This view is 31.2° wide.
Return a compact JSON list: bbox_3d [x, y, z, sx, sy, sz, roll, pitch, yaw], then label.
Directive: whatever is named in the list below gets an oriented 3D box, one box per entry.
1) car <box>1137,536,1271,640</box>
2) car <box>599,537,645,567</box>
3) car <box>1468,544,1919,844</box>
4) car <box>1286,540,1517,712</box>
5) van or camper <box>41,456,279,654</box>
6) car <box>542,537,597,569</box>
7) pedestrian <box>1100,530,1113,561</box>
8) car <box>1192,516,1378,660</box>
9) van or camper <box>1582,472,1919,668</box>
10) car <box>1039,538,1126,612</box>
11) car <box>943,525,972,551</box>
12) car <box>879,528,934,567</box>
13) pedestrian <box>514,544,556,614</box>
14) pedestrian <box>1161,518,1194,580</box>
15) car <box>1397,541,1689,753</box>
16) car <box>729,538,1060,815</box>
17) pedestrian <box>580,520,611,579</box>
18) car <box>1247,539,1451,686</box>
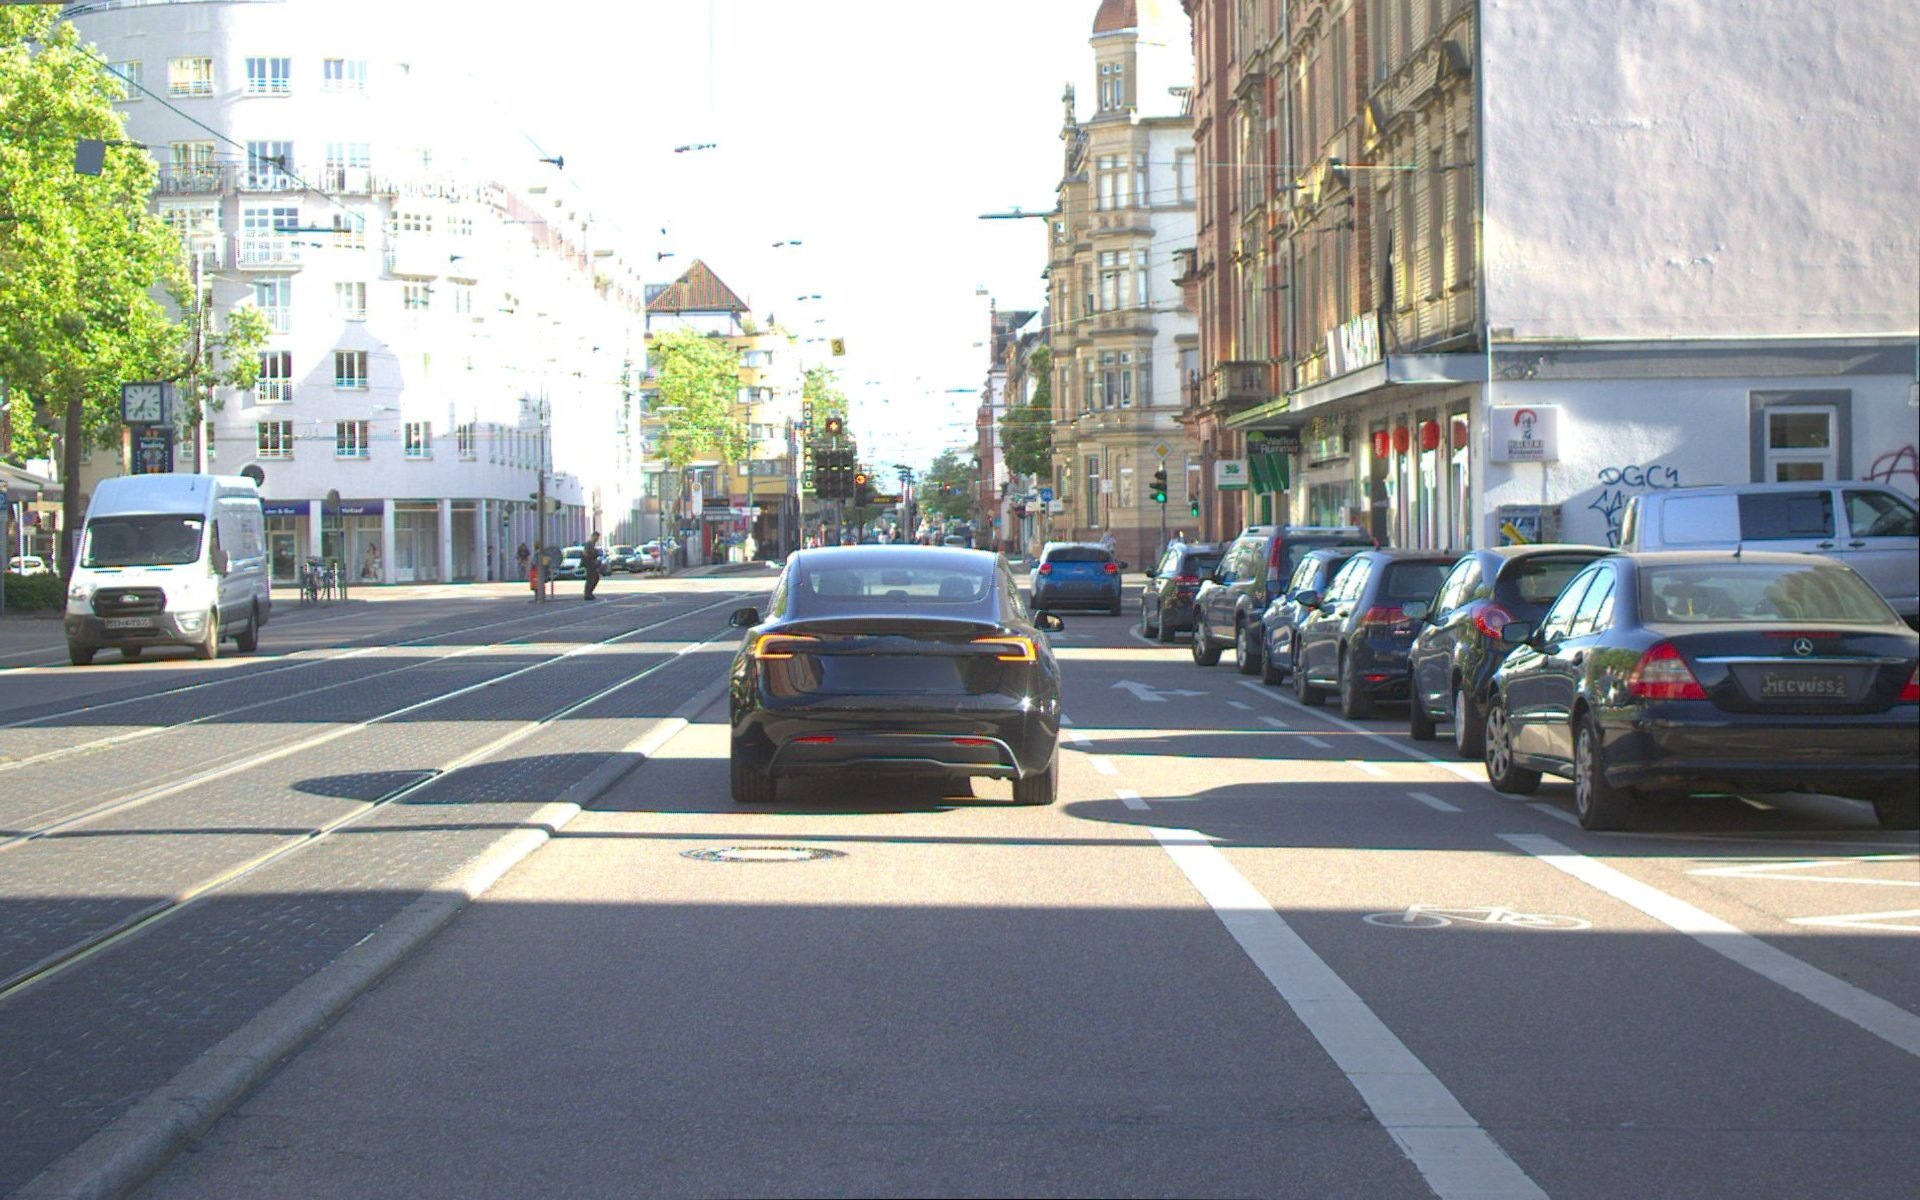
[{"bbox_3d":[3.625,-0.208,51.554,1.715,1.467,3.720,-1,1,0],"label":"car"},{"bbox_3d":[-17.323,-2.481,176.496,1.993,1.490,4.000,-1,1,-1],"label":"car"},{"bbox_3d":[4.039,0.424,18.964,1.710,1.452,4.551,0,1,-1],"label":"car"},{"bbox_3d":[3.849,0.206,30.466,1.461,1.427,3.814,0,0,-1],"label":"car"},{"bbox_3d":[-11.564,-0.665,50.218,2.139,2.645,6.881,-1,1,-3],"label":"van or camper"},{"bbox_3d":[-17.241,-2.081,151.769,1.993,1.363,4.000,-1,1,-1],"label":"car"},{"bbox_3d":[5.670,-2.116,133.133,0.441,1.217,0.389,-1,1,-1],"label":"pedestrian"},{"bbox_3d":[3.799,-0.145,40.785,1.829,1.622,4.095,0,0,0],"label":"car"},{"bbox_3d":[10.144,-0.400,42.102,4.644,2.129,1.987,-3,1,4],"label":"van or camper"},{"bbox_3d":[2.451,-0.524,69.363,1.593,1.428,3.686,-1,1,0],"label":"car"},{"bbox_3d":[-0.156,-3.997,220.111,1.846,1.587,4.000,-2,1,0],"label":"car"},{"bbox_3d":[-2.231,-2.185,143.415,1.993,1.520,4.001,1,0,-5],"label":"car"},{"bbox_3d":[-10.502,-0.521,84.947,0.845,1.689,0.796,1,1,7],"label":"pedestrian"},{"bbox_3d":[5.737,-1.339,90.740,0.748,1.611,0.706,-1,1,-3],"label":"pedestrian"},{"bbox_3d":[4.188,0.313,25.098,1.578,1.442,3.309,0,0,0],"label":"car"},{"bbox_3d":[-0.402,0.370,19.855,1.719,1.400,3.710,1,2,-2],"label":"car"},{"bbox_3d":[-9.310,-1.283,87.789,0.702,1.496,0.795,0,1,0],"label":"pedestrian"},{"bbox_3d":[3.992,0.113,35.755,1.578,1.439,3.914,0,0,-1],"label":"car"}]
